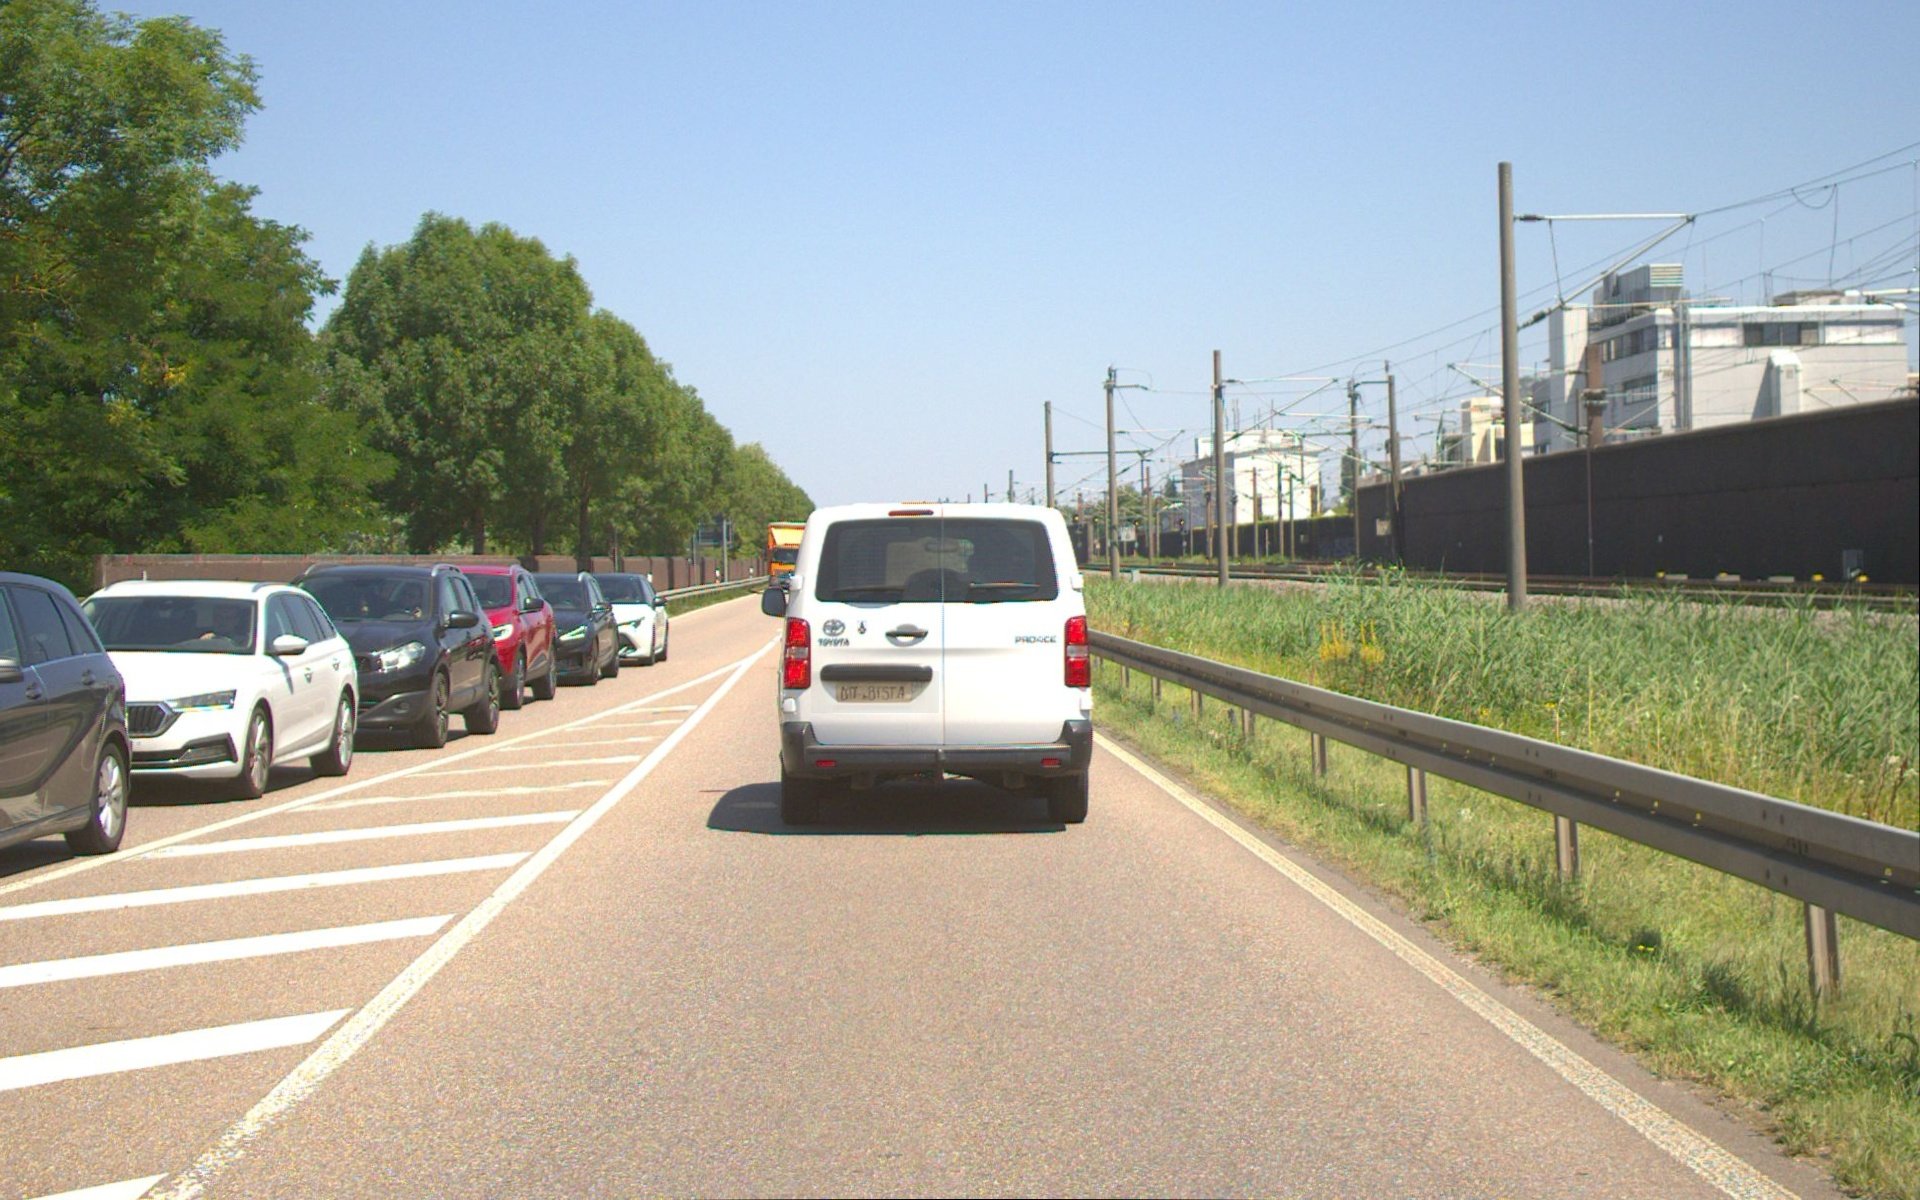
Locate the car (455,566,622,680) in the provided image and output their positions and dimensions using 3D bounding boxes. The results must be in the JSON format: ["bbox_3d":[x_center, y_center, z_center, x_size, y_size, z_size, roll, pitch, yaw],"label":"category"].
[{"bbox_3d":[-5.668,0.275,46.713,1.685,1.455,4.616,1,1,0],"label":"car"}]

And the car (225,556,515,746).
[{"bbox_3d":[-5.256,0.398,31.183,1.716,1.584,4.534,0,1,2],"label":"car"}]

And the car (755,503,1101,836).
[{"bbox_3d":[-0.248,0.372,21.820,1.945,1.875,4.881,0,0,-2],"label":"car"}]

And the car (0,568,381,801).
[{"bbox_3d":[-5.419,0.524,24.452,1.653,1.473,4.630,0,1,2],"label":"car"}]

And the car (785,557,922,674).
[{"bbox_3d":[-1.612,0.192,50.694,1.905,1.644,4.142,1,1,-3],"label":"car"}]

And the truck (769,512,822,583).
[{"bbox_3d":[-9.158,-2.913,191.919,2.792,3.827,9.325,0,1,-2],"label":"truck"}]

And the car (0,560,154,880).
[{"bbox_3d":[-5.438,0.594,17.070,1.624,1.532,4.384,-1,1,3],"label":"car"}]

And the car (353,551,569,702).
[{"bbox_3d":[-5.680,0.258,39.601,1.755,1.626,4.279,0,1,2],"label":"car"}]

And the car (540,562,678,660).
[{"bbox_3d":[-5.493,0.139,54.260,1.685,1.455,4.616,1,1,0],"label":"car"}]
